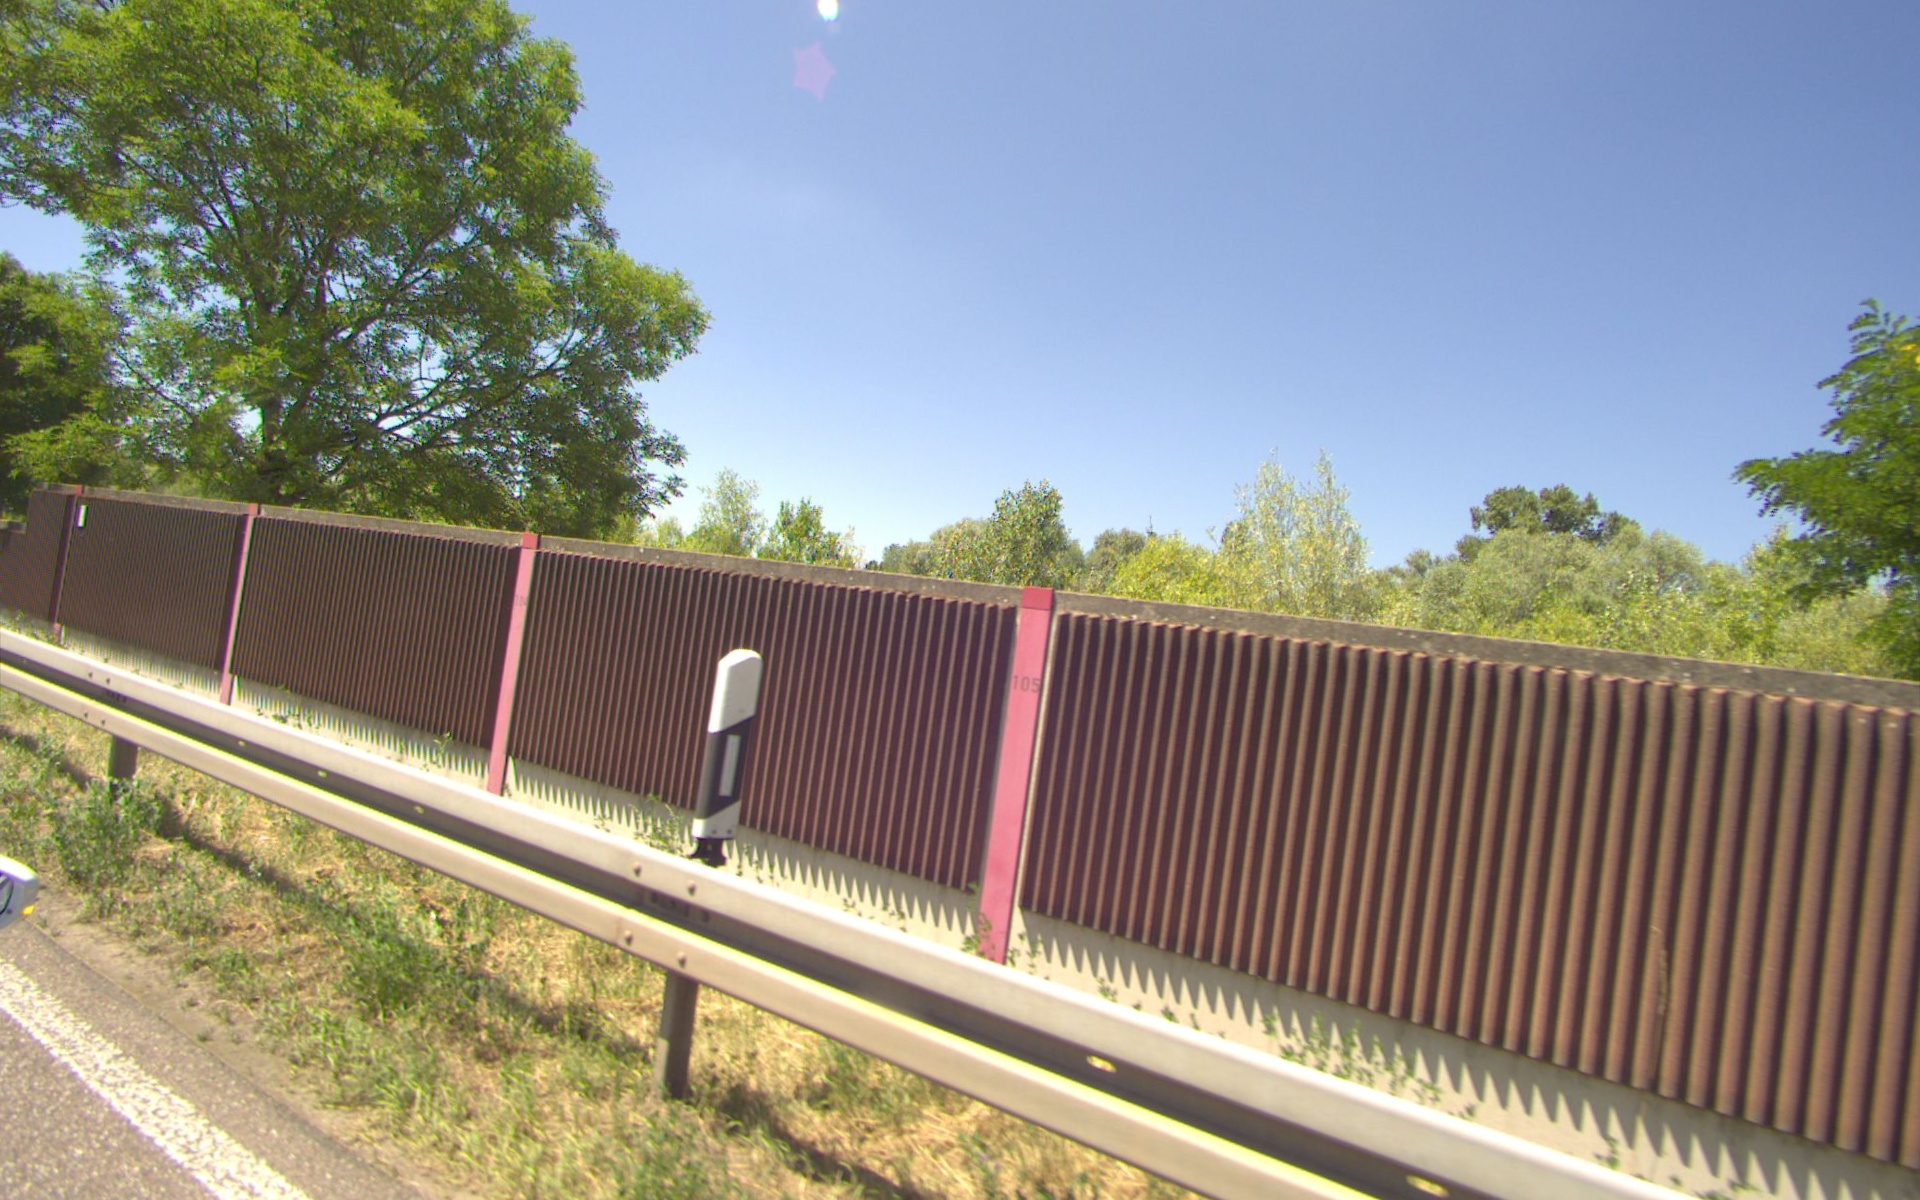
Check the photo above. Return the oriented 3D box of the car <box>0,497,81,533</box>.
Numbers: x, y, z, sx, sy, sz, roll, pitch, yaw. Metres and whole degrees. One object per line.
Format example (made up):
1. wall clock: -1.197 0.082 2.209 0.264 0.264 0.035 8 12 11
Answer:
1. car: -59.131 -5.480 63.594 1.902 1.650 4.934 7 -2 32
